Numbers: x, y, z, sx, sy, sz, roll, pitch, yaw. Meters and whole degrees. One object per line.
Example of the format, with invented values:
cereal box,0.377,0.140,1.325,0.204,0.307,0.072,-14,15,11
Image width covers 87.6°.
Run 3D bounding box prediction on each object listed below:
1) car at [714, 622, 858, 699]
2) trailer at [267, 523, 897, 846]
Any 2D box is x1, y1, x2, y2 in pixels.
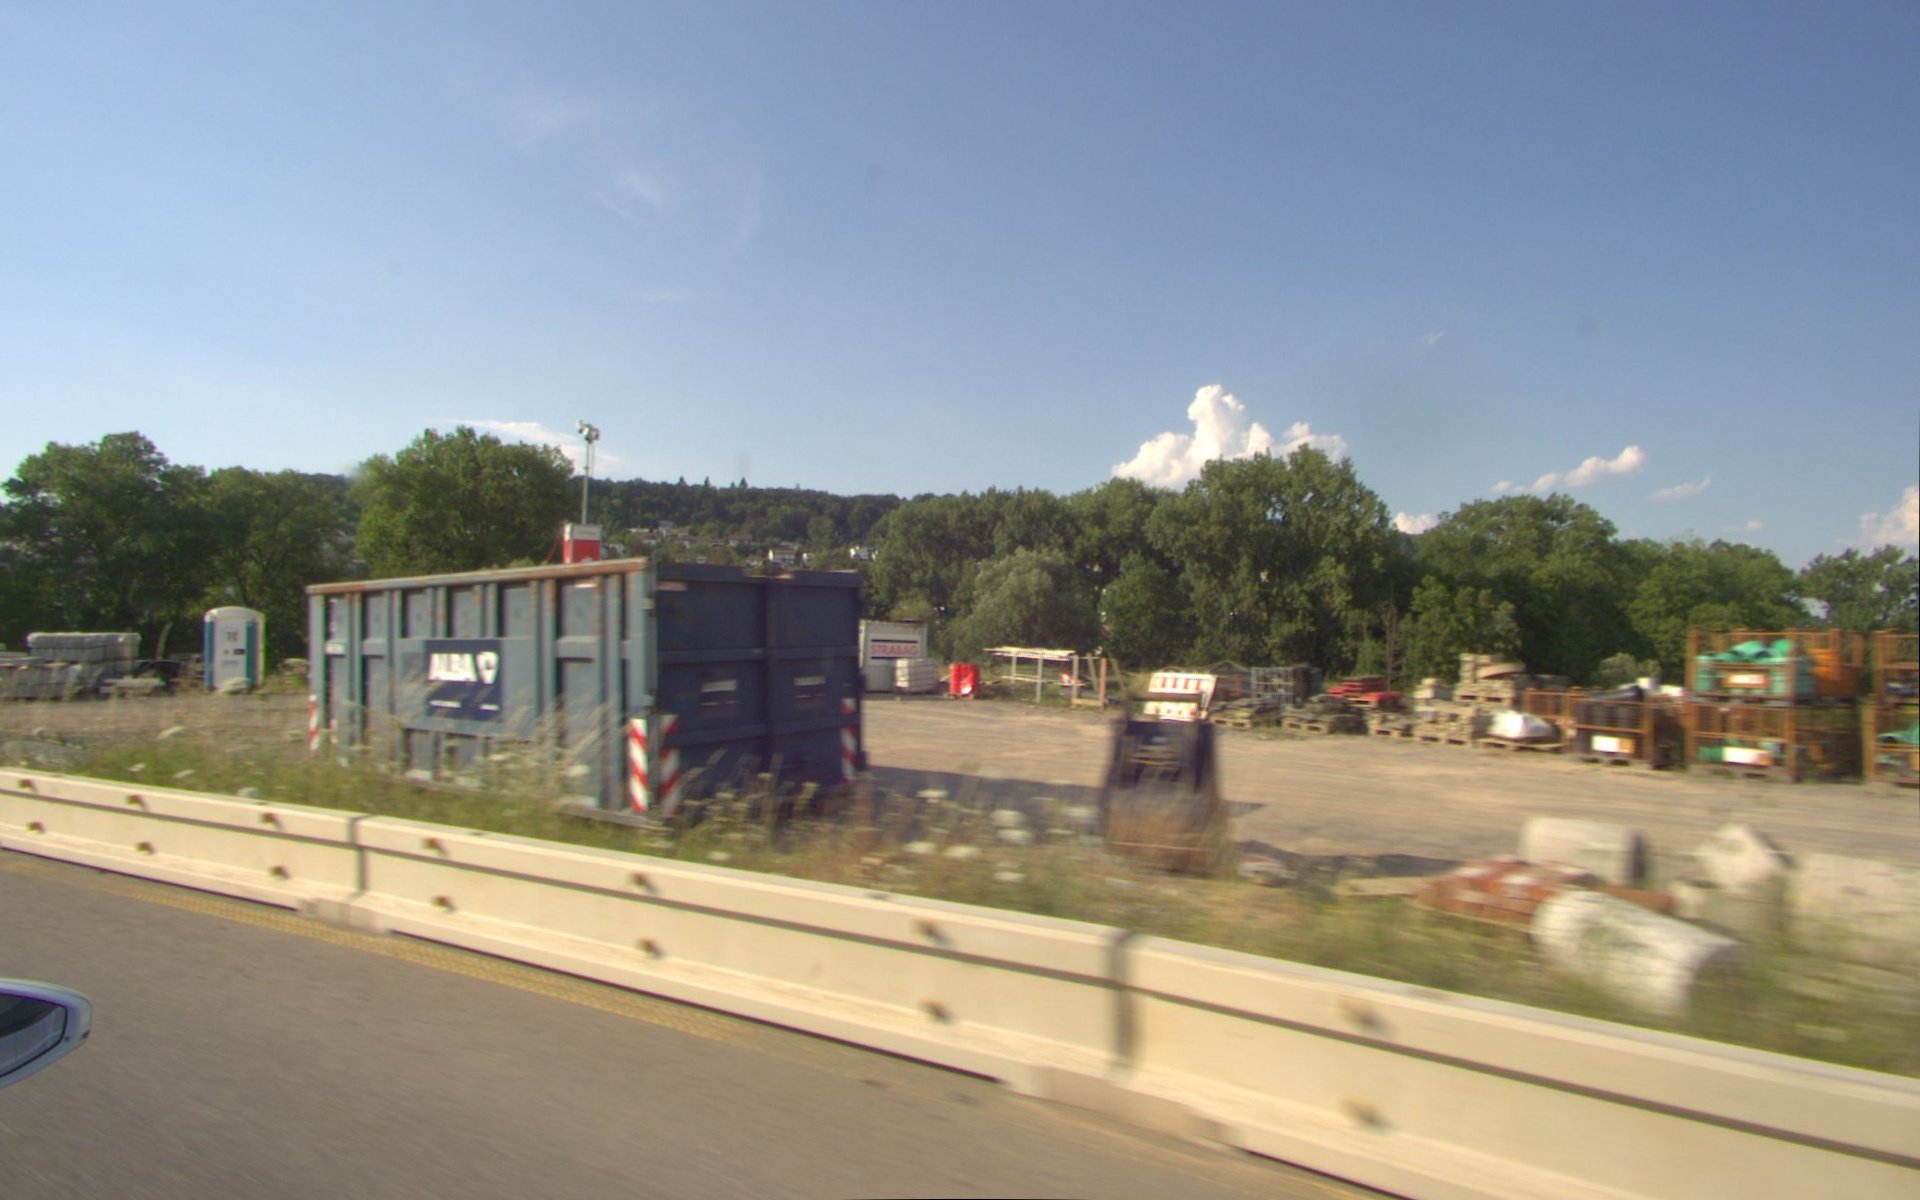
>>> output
car,-5.401,1.786,30.484,2.454,2.105,5.289,1,-3,-33
trailer,-4.390,0.797,10.927,7.134,2.444,2.996,-2,-4,36
